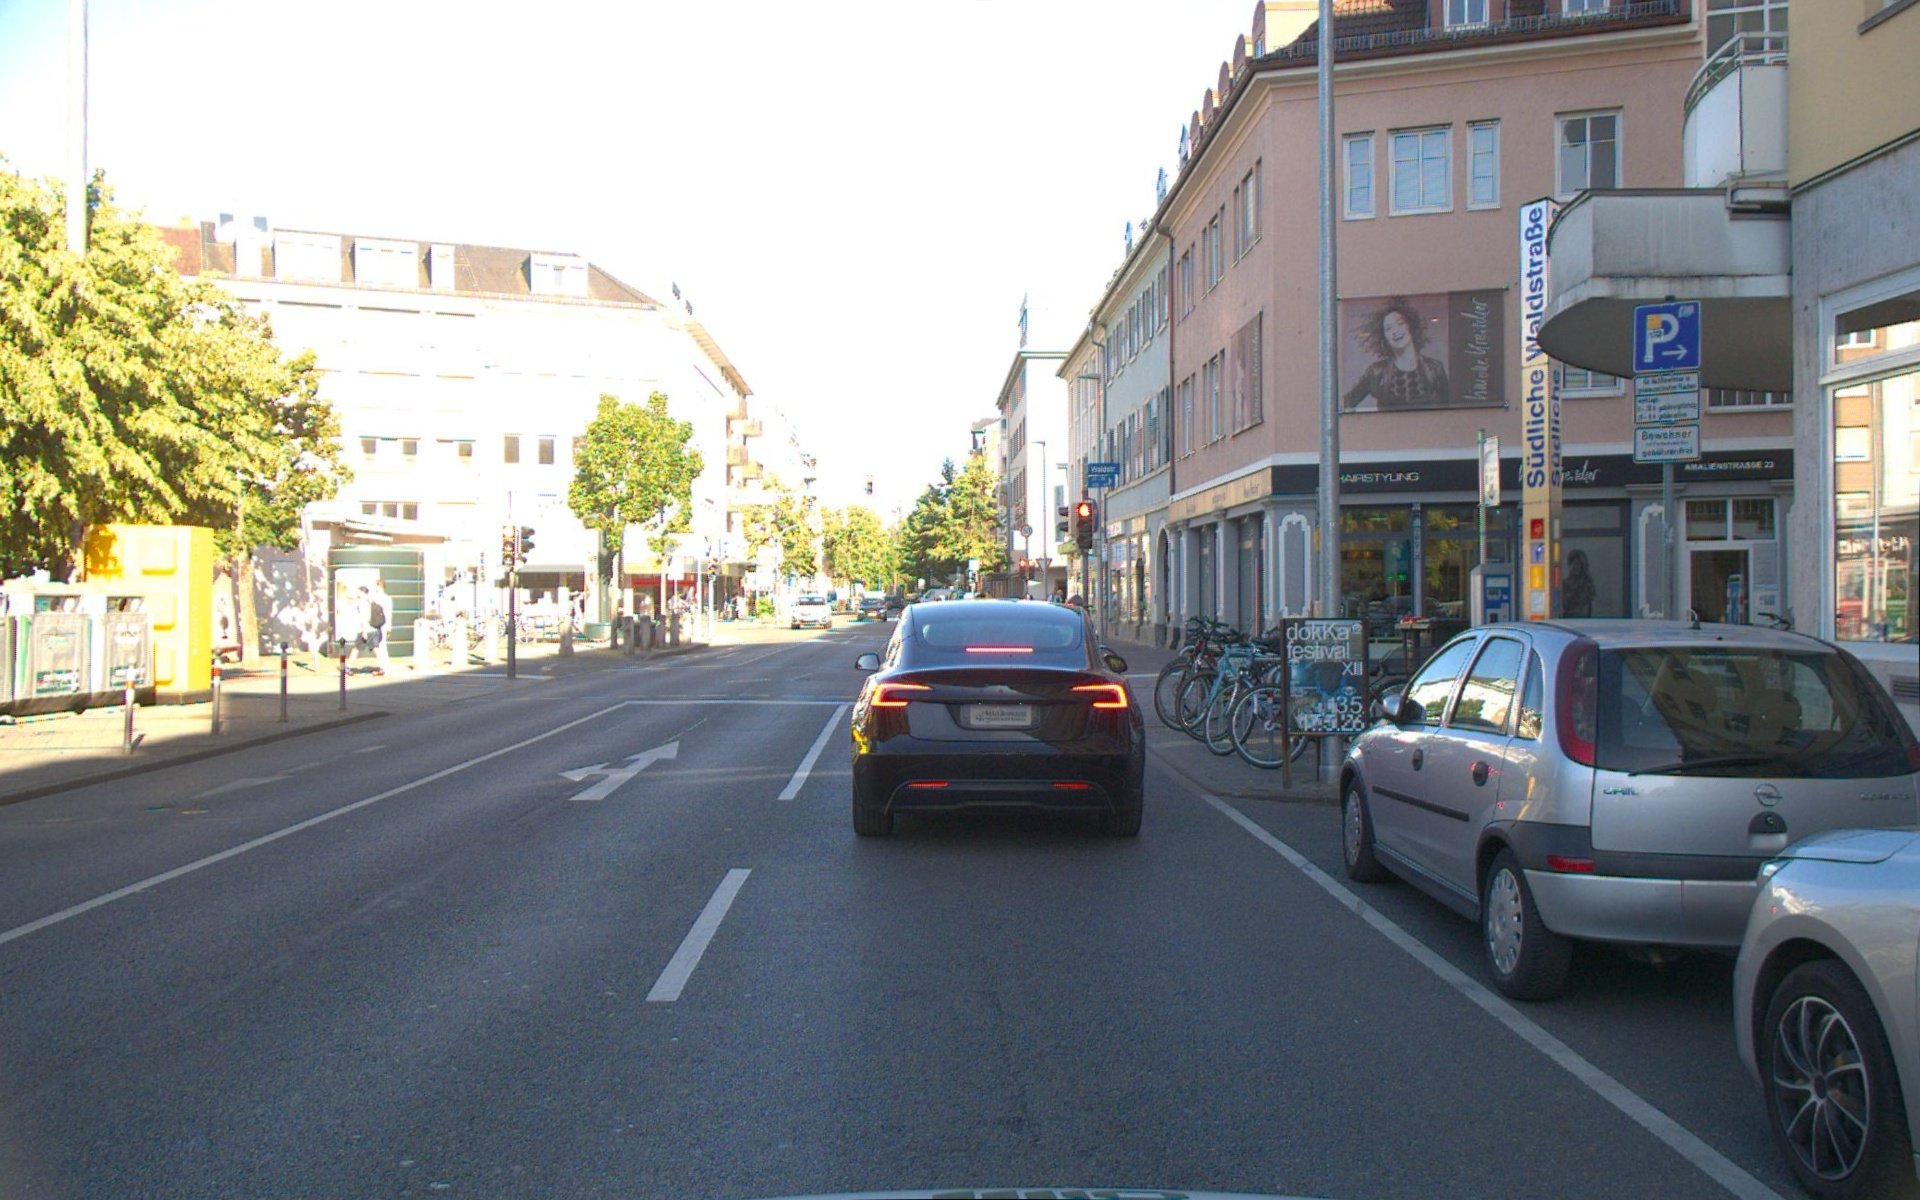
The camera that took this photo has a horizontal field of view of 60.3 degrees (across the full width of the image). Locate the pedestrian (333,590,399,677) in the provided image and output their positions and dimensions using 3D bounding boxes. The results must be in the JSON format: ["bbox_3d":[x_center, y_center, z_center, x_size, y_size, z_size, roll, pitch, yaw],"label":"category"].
[{"bbox_3d":[-11.466,0.641,31.951,0.966,1.665,0.737,0,0,3],"label":"pedestrian"}]

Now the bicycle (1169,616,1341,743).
[{"bbox_3d":[2.910,0.776,16.380,1.595,1.180,0.432,-2,0,-2],"label":"bicycle"}]

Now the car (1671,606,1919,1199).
[{"bbox_3d":[3.073,0.753,3.009,1.637,1.452,4.074,0,0,-3],"label":"car"}]

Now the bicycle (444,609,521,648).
[{"bbox_3d":[-14.150,0.849,48.998,2.040,1.123,0.806,0,0,-1],"label":"bicycle"}]

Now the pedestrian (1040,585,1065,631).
[{"bbox_3d":[3.799,0.321,68.048,0.979,1.883,0.615,0,0,-1],"label":"pedestrian"}]

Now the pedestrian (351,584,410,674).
[{"bbox_3d":[-11.436,0.569,32.652,0.882,1.755,0.744,0,0,3],"label":"pedestrian"}]

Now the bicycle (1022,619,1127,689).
[{"bbox_3d":[1.824,0.848,26.237,1.581,1.063,0.591,1,0,12],"label":"bicycle"}]

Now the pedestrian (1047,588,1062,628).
[{"bbox_3d":[4.920,0.412,86.459,0.614,2.049,0.559,0,0,24],"label":"pedestrian"}]

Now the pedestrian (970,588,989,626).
[{"bbox_3d":[1.047,0.377,89.711,0.742,2.049,0.791,0,0,-27],"label":"pedestrian"}]

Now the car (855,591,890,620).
[{"bbox_3d":[-5.323,0.315,101.160,2.009,1.757,4.652,0,0,-2],"label":"car"}]

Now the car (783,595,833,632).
[{"bbox_3d":[-7.181,0.616,78.562,1.953,1.567,3.999,-3,0,-1],"label":"car"}]

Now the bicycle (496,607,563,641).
[{"bbox_3d":[-14.549,0.820,55.961,2.040,1.123,0.806,0,0,-1],"label":"bicycle"}]

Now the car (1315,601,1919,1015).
[{"bbox_3d":[2.856,0.721,7.668,1.588,1.419,3.886,0,0,0],"label":"car"}]

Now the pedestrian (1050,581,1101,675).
[{"bbox_3d":[1.831,0.437,26.233,0.727,1.466,0.583,1,0,12],"label":"pedestrian"}]

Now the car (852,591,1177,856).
[{"bbox_3d":[0.309,0.687,11.147,1.812,1.480,3.786,0,0,0],"label":"car"}]

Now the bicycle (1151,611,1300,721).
[{"bbox_3d":[3.009,0.741,18.787,1.594,1.180,0.433,-2,0,0],"label":"bicycle"}]

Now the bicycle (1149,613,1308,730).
[{"bbox_3d":[2.859,0.756,17.676,1.595,1.180,0.432,-2,0,-2],"label":"bicycle"}]

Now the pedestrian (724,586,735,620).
[{"bbox_3d":[-13.876,0.161,99.640,0.613,2.049,0.575,0,0,-1],"label":"pedestrian"}]

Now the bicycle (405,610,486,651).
[{"bbox_3d":[-14.448,0.862,46.474,2.040,1.123,0.806,0,0,-1],"label":"bicycle"}]

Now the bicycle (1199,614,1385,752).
[{"bbox_3d":[3.039,0.752,15.186,1.595,1.180,0.432,-2,0,-2],"label":"bicycle"}]

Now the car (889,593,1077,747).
[{"bbox_3d":[0.225,0.669,17.815,1.812,1.480,3.786,0,0,0],"label":"car"}]

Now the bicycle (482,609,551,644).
[{"bbox_3d":[-14.410,0.863,53.769,2.040,1.123,0.806,0,0,-1],"label":"bicycle"}]
